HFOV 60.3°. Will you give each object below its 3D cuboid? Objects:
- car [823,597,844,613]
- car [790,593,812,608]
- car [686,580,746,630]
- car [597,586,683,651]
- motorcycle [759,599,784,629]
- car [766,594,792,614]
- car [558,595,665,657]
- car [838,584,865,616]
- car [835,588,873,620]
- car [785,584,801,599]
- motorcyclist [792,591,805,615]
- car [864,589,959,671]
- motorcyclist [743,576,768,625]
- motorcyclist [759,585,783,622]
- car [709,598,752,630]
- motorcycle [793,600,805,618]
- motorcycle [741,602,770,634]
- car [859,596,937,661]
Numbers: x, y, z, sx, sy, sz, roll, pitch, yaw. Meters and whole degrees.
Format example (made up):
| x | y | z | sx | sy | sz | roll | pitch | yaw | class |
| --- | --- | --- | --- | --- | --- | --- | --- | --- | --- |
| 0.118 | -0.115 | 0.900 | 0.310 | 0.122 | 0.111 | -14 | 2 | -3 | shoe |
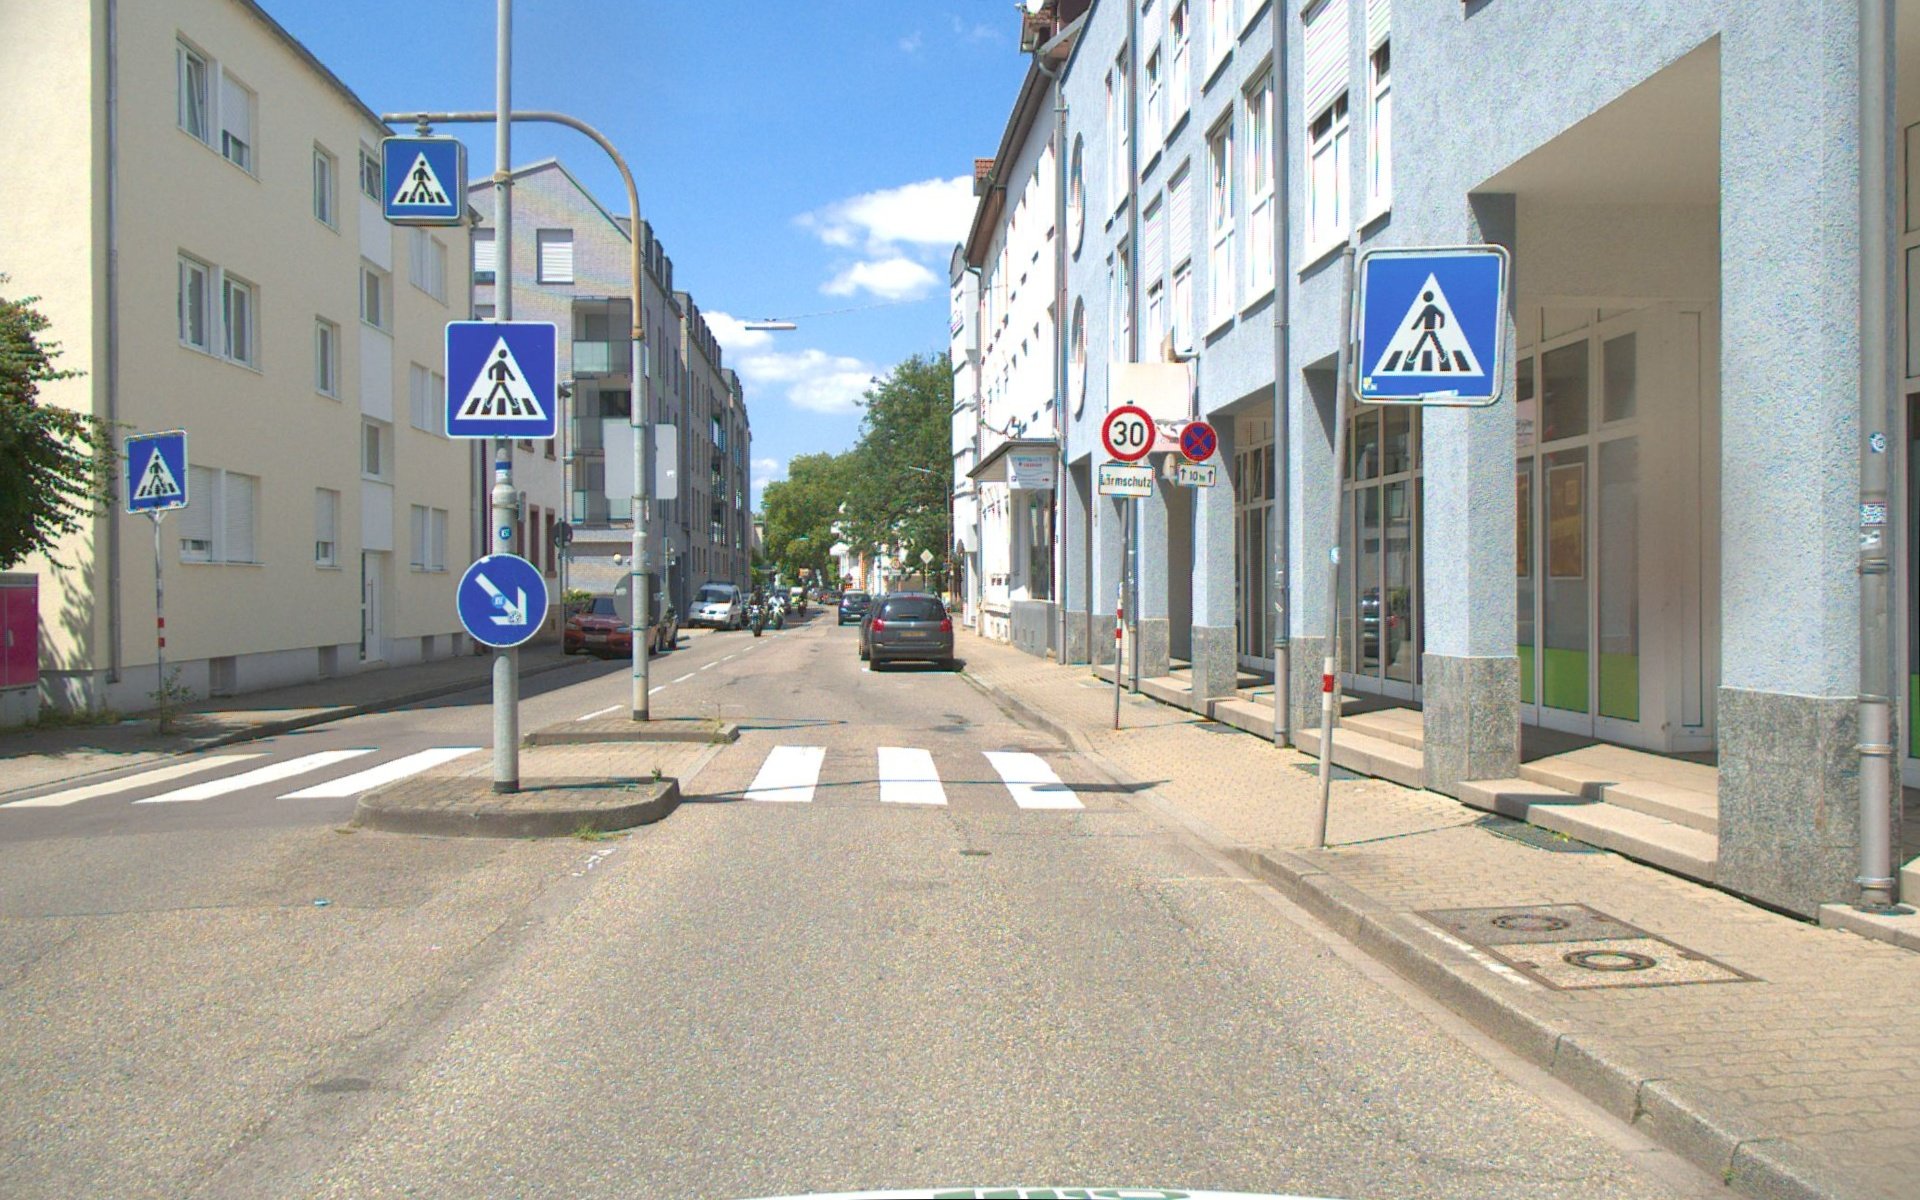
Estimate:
| x | y | z | sx | sy | sz | roll | pitch | yaw | class |
| --- | --- | --- | --- | --- | --- | --- | --- | --- | --- |
| -13.865 | 0.541 | 181.109 | 1.957 | 1.646 | 3.992 | 0 | 0 | -9 | car |
| -16.008 | 0.076 | 166.789 | 1.953 | 1.405 | 4.391 | 2 | 0 | -2 | car |
| -9.998 | 0.178 | 67.998 | 1.721 | 1.925 | 4.336 | 2 | 0 | 0 | car |
| -8.716 | 0.490 | 45.321 | 1.759 | 1.675 | 3.942 | 1 | 0 | -3 | car |
| -7.721 | 0.554 | 67.760 | 0.878 | 1.196 | 2.206 | 0 | 0 | -4 | motorcycle |
| -13.209 | 0.278 | 120.851 | 1.698 | 1.467 | 3.996 | 0 | 0 | -4 | car |
| -8.434 | 0.596 | 40.344 | 1.797 | 1.441 | 4.288 | 0 | 0 | -1 | car |
| -7.240 | -0.013 | 110.609 | 1.802 | 2.049 | 3.998 | 0 | 1 | -3 | car |
| -4.937 | 0.173 | 77.102 | 1.681 | 1.426 | 3.997 | -1 | 1 | -3 | car |
| -23.251 | -1.205 | 230.482 | 2.114 | 2.049 | 3.996 | -1 | 0 | -5 | car |
| -10.772 | 0.203 | 110.383 | 0.806 | 1.535 | 1.056 | -1 | 0 | -4 | motorcyclist |
| -1.037 | 0.565 | 33.577 | 1.676 | 1.534 | 3.995 | 0 | 0 | -5 | car |
| -7.067 | 0.000 | 57.257 | 0.698 | 1.663 | 1.069 | -1 | 0 | 0 | motorcyclist |
| -7.729 | 0.133 | 67.749 | 0.898 | 1.506 | 1.202 | 0 | 0 | -4 | motorcyclist |
| -11.169 | 0.649 | 80.724 | 1.688 | 1.481 | 4.003 | 1 | 0 | -3 | car |
| -10.752 | 0.596 | 110.349 | 0.674 | 1.142 | 2.026 | -1 | 0 | -3 | motorcycle |
| -7.061 | 0.610 | 57.216 | 0.698 | 1.046 | 2.239 | -1 | 1 | 0 | motorcycle |
| -1.509 | 0.626 | 39.022 | 1.695 | 1.445 | 4.541 | 0 | 0 | -4 | car |
